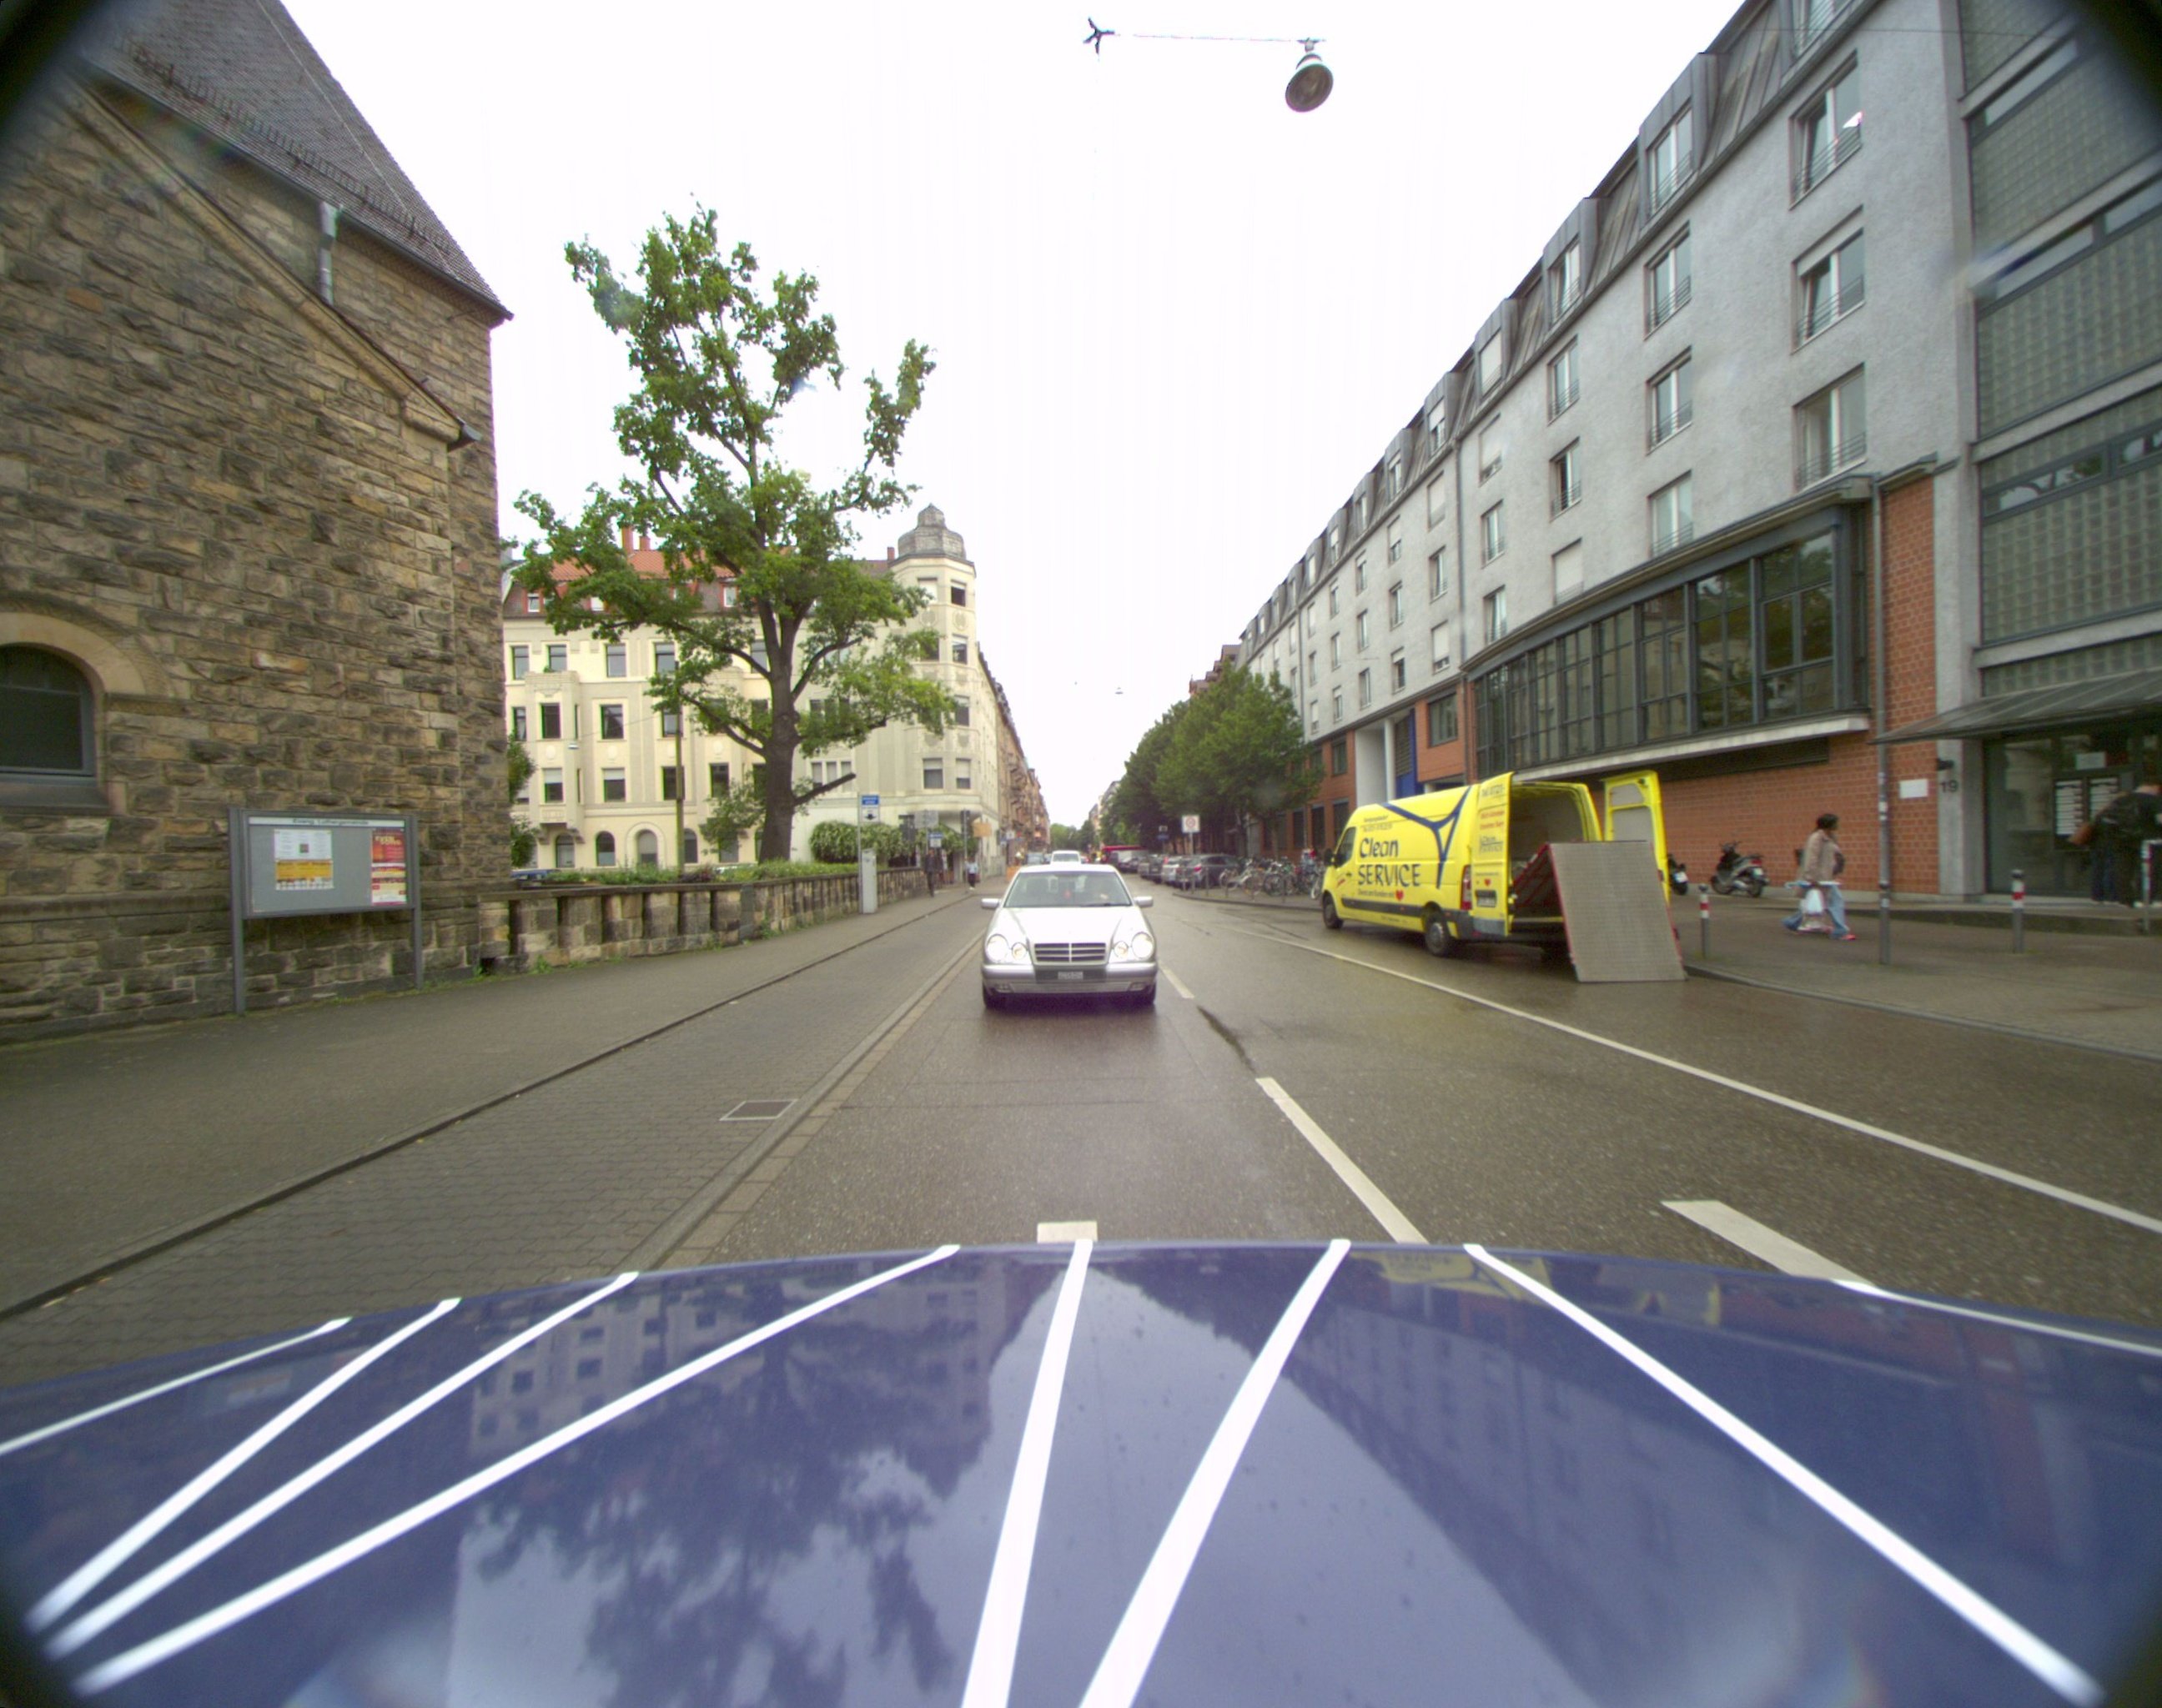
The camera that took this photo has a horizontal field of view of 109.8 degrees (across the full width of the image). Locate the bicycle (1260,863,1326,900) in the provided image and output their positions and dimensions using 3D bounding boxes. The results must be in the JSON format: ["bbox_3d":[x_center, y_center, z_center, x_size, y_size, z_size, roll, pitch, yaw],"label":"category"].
[{"bbox_3d":[6.611,0.860,23.754,1.858,1.067,0.609,-3,1,5],"label":"bicycle"}]

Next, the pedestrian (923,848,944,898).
[{"bbox_3d":[-5.502,0.702,28.385,0.646,1.862,0.693,-1,1,-1],"label":"pedestrian"}]

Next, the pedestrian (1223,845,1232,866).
[{"bbox_3d":[11.127,0.083,57.650,0.571,1.588,0.533,-1,1,0],"label":"pedestrian"}]

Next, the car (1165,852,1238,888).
[{"bbox_3d":[5.617,0.709,35.321,3.083,1.494,1.449,-3,0,-32],"label":"car"}]

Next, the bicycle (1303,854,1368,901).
[{"bbox_3d":[7.533,0.672,22.437,1.922,1.209,0.768,-5,3,-35],"label":"bicycle"}]

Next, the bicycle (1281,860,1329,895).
[{"bbox_3d":[7.366,0.769,25.040,1.461,1.096,0.462,-3,1,14],"label":"bicycle"}]

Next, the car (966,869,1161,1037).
[{"bbox_3d":[-0.171,0.949,9.017,1.764,1.420,3.999,-1,0,0],"label":"car"}]

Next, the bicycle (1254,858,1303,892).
[{"bbox_3d":[7.036,0.733,27.091,1.611,1.099,0.519,-3,1,-13],"label":"bicycle"}]

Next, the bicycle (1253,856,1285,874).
[{"bbox_3d":[10.261,0.593,41.475,1.590,0.978,0.445,-1,1,-8],"label":"bicycle"}]

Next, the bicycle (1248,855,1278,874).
[{"bbox_3d":[10.204,0.578,42.598,1.590,0.978,0.445,-1,1,-8],"label":"bicycle"}]

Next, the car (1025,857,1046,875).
[{"bbox_3d":[-3.552,0.937,59.869,1.447,1.348,3.204,-1,0,-1],"label":"car"}]

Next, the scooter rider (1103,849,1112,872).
[{"bbox_3d":[2.216,0.519,62.931,0.712,1.924,0.503,-1,1,-2],"label":"scooter rider"}]

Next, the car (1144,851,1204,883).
[{"bbox_3d":[5.030,0.680,40.810,3.084,1.543,1.449,-3,0,-41],"label":"car"}]

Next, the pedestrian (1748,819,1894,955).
[{"bbox_3d":[10.059,0.426,10.381,0.787,1.718,1.172,-3,1,-2],"label":"pedestrian"}]

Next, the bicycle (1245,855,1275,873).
[{"bbox_3d":[10.241,0.565,43.390,1.590,0.978,0.445,-1,1,-8],"label":"bicycle"}]

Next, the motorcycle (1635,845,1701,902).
[{"bbox_3d":[13.015,0.407,16.900,0.524,1.174,2.006,-2,0,19],"label":"motorcycle"}]

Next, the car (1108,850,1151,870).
[{"bbox_3d":[4.762,0.563,74.003,4.338,1.822,1.571,-1,0,-41],"label":"car"}]

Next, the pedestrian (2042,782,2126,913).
[{"bbox_3d":[13.774,-0.079,10.453,0.474,1.738,0.607,0,1,26],"label":"pedestrian"}]

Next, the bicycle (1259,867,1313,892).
[{"bbox_3d":[7.150,0.888,26.484,1.773,0.757,0.456,-3,1,-13],"label":"bicycle"}]

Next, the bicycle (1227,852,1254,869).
[{"bbox_3d":[9.955,0.405,47.448,1.590,0.978,0.465,-1,1,-8],"label":"bicycle"}]

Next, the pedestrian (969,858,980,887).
[{"bbox_3d":[-5.274,0.907,37.784,0.482,1.452,0.392,-1,1,-1],"label":"pedestrian"}]

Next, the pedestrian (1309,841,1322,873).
[{"bbox_3d":[11.777,0.150,38.199,0.513,1.601,0.426,-1,1,27],"label":"pedestrian"}]

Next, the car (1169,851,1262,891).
[{"bbox_3d":[5.761,0.697,32.395,3.629,1.494,1.736,-3,1,-32],"label":"car"}]

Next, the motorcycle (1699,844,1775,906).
[{"bbox_3d":[13.238,0.395,15.392,0.524,1.174,1.760,-2,0,19],"label":"motorcycle"}]

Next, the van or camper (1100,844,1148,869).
[{"bbox_3d":[4.546,0.241,79.981,4.604,2.597,1.999,-1,0,-27],"label":"van or camper"}]

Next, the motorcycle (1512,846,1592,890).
[{"bbox_3d":[13.191,0.365,21.386,0.838,1.150,2.273,-3,0,1],"label":"motorcycle"}]

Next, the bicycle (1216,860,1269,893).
[{"bbox_3d":[6.020,0.834,28.298,1.812,1.099,0.472,-3,1,-5],"label":"bicycle"}]

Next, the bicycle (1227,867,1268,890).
[{"bbox_3d":[6.420,0.938,29.353,1.473,0.800,0.497,-3,1,2],"label":"bicycle"}]

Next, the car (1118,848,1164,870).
[{"bbox_3d":[5.575,0.450,70.496,4.338,1.884,1.685,-1,0,-41],"label":"car"}]

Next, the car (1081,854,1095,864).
[{"bbox_3d":[0.880,0.705,102.363,1.651,1.301,3.311,-1,0,-3],"label":"car"}]

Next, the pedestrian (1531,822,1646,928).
[{"bbox_3d":[9.394,0.371,14.130,1.353,1.835,1.061,-3,1,0],"label":"pedestrian"}]

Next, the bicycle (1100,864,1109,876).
[{"bbox_3d":[1.854,1.252,59.586,0.536,0.879,1.780,-1,0,-2],"label":"bicycle"}]

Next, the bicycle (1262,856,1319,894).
[{"bbox_3d":[7.142,0.694,25.894,1.815,1.187,0.519,-3,1,-13],"label":"bicycle"}]

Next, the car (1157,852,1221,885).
[{"bbox_3d":[5.410,0.713,37.928,3.084,1.494,1.449,-3,0,-41],"label":"car"}]

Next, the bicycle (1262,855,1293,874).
[{"bbox_3d":[10.882,0.578,42.024,1.590,0.978,0.445,-1,1,-8],"label":"bicycle"}]

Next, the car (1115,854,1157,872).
[{"bbox_3d":[4.814,0.752,66.259,1.685,1.481,3.799,0,0,40],"label":"car"}]

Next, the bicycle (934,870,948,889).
[{"bbox_3d":[-7.527,1.379,40.919,0.390,0.888,2.023,-1,2,-1],"label":"bicycle"}]

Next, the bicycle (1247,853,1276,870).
[{"bbox_3d":[10.447,0.441,44.012,1.590,0.978,0.445,-1,1,-8],"label":"bicycle"}]

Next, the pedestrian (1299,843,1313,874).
[{"bbox_3d":[11.589,0.217,39.199,0.604,1.601,0.373,-1,1,29],"label":"pedestrian"}]

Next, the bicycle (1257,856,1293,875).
[{"bbox_3d":[10.492,0.595,41.017,1.851,0.978,0.445,-1,1,-8],"label":"bicycle"}]

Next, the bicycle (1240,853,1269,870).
[{"bbox_3d":[10.323,0.428,45.176,1.590,0.978,0.465,-1,1,-8],"label":"bicycle"}]

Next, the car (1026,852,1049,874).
[{"bbox_3d":[-3.674,0.718,64.785,1.726,1.794,3.462,-1,0,-1],"label":"car"}]

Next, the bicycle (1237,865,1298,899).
[{"bbox_3d":[6.026,0.912,24.588,1.800,0.987,0.520,-3,1,-3],"label":"bicycle"}]

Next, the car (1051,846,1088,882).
[{"bbox_3d":[-0.643,0.551,44.148,1.998,2.002,4.000,-1,0,0],"label":"car"}]

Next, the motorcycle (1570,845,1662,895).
[{"bbox_3d":[13.367,0.387,19.078,0.651,1.150,2.205,-3,0,-2],"label":"motorcycle"}]

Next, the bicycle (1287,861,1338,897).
[{"bbox_3d":[7.385,0.785,24.265,1.462,1.058,0.418,-3,1,3],"label":"bicycle"}]

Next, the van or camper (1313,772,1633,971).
[{"bbox_3d":[6.068,0.222,12.959,2.202,2.596,5.940,-1,0,-2],"label":"van or camper"}]

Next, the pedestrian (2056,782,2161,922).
[{"bbox_3d":[13.551,-0.037,9.809,1.008,1.718,0.787,-2,1,-9],"label":"pedestrian"}]

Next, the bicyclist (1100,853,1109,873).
[{"bbox_3d":[1.844,0.710,59.476,0.536,1.521,1.134,-1,1,-2],"label":"bicyclist"}]

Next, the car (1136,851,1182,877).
[{"bbox_3d":[5.065,0.619,49.308,2.685,1.546,1.148,-3,0,-29],"label":"car"}]

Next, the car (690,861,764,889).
[{"bbox_3d":[-19.065,1.123,40.987,3.270,1.401,1.448,-1,0,2],"label":"car"}]

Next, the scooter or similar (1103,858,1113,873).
[{"bbox_3d":[2.222,0.953,62.989,0.702,1.158,1.385,-1,0,-2],"label":"scooter or similar"}]

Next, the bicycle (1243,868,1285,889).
[{"bbox_3d":[6.908,0.927,28.729,1.473,0.717,0.497,-3,1,2],"label":"bicycle"}]

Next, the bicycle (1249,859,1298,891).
[{"bbox_3d":[7.047,0.763,27.784,1.610,1.099,0.520,-3,1,-5],"label":"bicycle"}]

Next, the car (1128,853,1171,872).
[{"bbox_3d":[5.769,0.715,63.750,1.685,1.481,3.799,0,0,40],"label":"car"}]

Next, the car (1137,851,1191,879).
[{"bbox_3d":[5.113,0.676,46.551,2.985,1.546,1.369,-3,0,-29],"label":"car"}]
